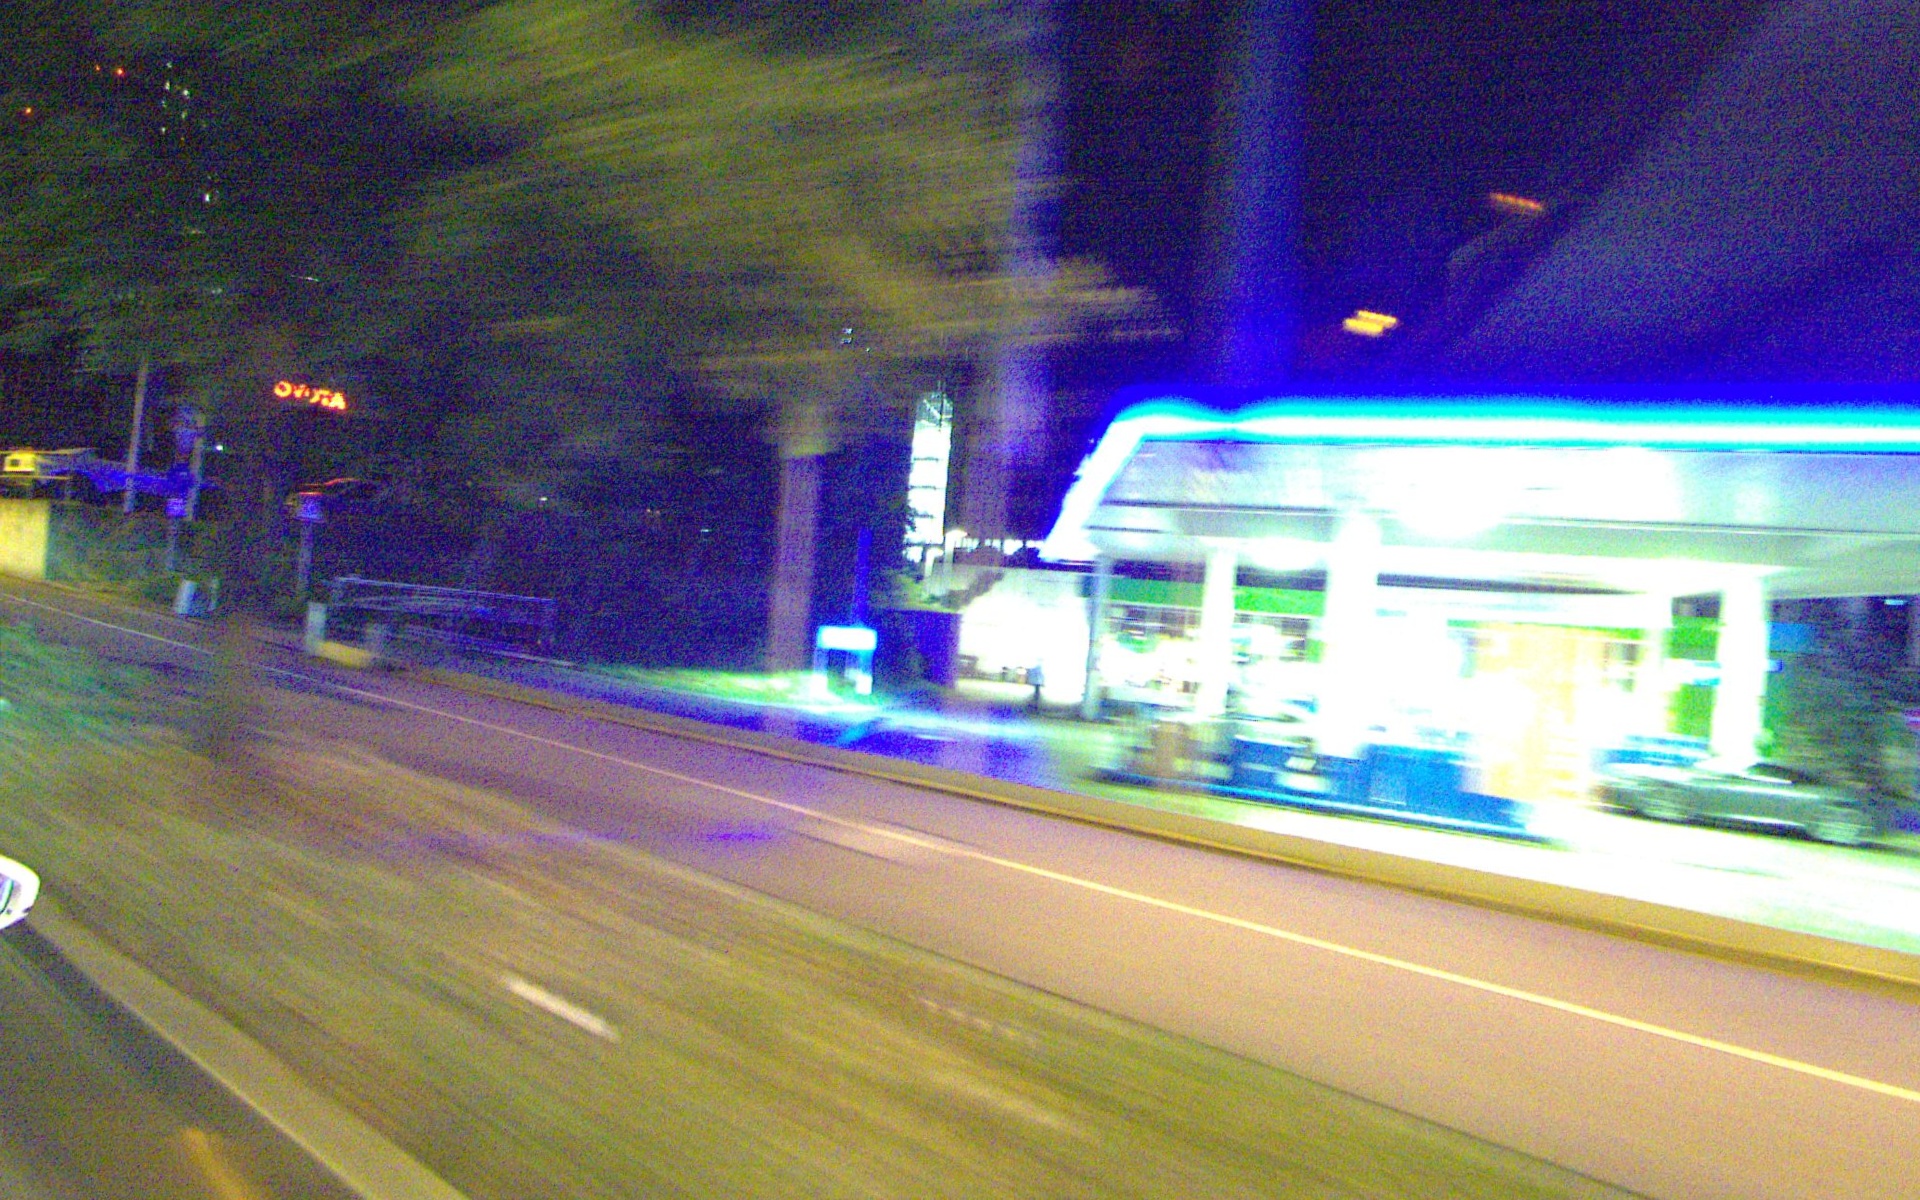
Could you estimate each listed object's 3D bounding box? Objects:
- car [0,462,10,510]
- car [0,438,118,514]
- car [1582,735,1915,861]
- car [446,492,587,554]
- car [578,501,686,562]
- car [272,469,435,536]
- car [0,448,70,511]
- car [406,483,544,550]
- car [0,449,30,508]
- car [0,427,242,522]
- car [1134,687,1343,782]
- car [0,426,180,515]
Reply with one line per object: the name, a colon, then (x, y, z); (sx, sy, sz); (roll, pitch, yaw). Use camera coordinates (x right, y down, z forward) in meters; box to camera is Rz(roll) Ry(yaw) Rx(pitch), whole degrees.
car: (-31.282, -3.681, 30.333); (1.708, 1.509, 3.840); (4, 1, -4)
car: (-24.215, -3.233, 25.686); (1.749, 1.608, 3.753); (5, 1, 25)
car: (13.932, 3.461, 18.138); (4.256, 1.379, 1.933); (6, -2, 23)
car: (-13.356, -2.295, 30.475); (1.609, 1.490, 3.642); (5, 2, 30)
car: (-12.444, -2.573, 38.409); (1.721, 1.920, 3.816); (6, 1, 23)
car: (-20.323, -3.247, 33.898); (1.721, 1.748, 4.362); (5, 2, 29)
car: (-26.368, -3.364, 26.662); (1.711, 1.508, 3.733); (5, 0, 25)
car: (-18.964, -3.227, 39.552); (1.964, 1.934, 4.587); (6, 0, 24)
car: (-28.729, -3.636, 28.138); (1.695, 1.590, 3.570); (6, 1, 22)
car: (-19.762, -2.884, 23.757); (1.791, 1.541, 4.126); (5, -1, 28)
car: (5.858, 2.766, 21.182); (3.994, 1.374, 1.659); (6, -2, 21)
car: (-21.901, -3.158, 24.646); (1.708, 1.591, 3.993); (5, 0, 28)
